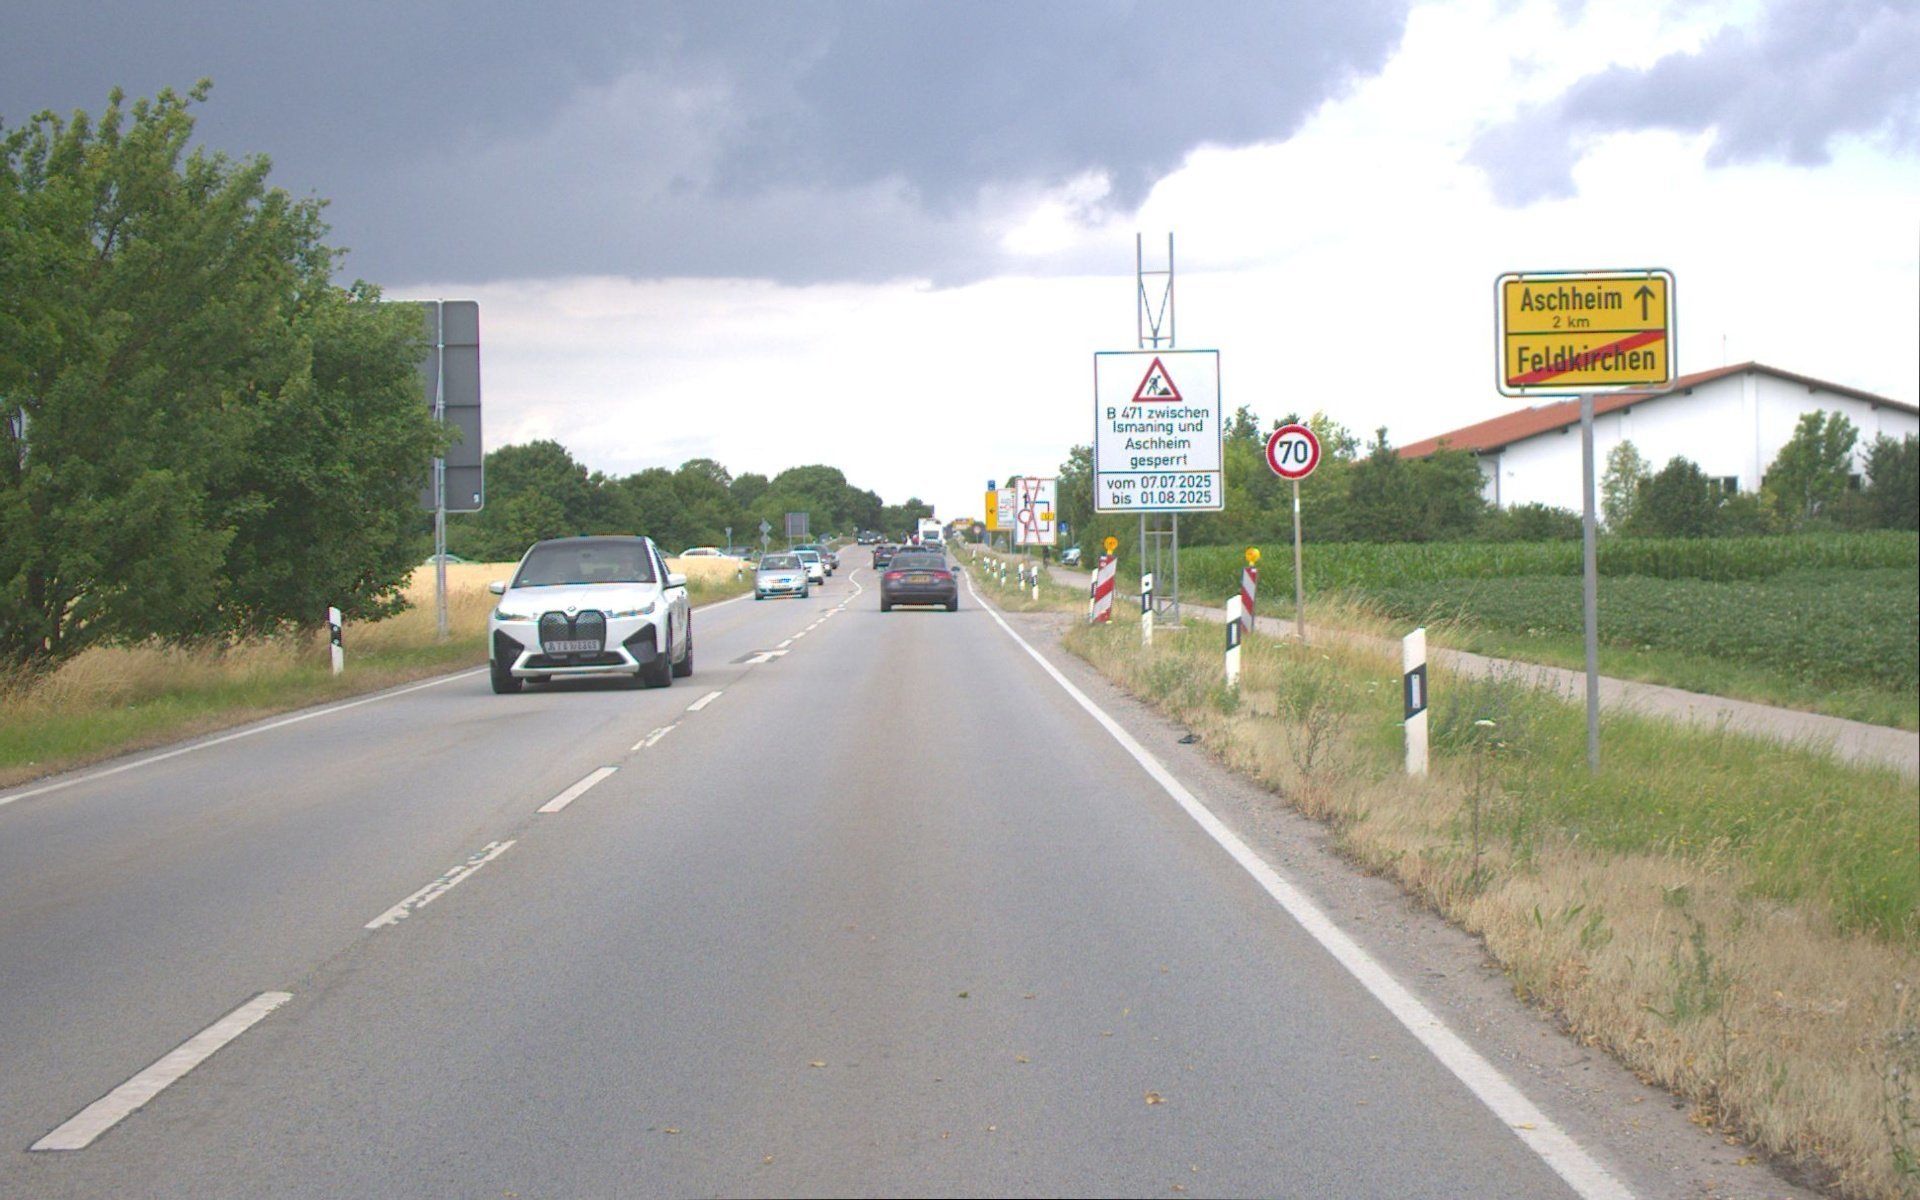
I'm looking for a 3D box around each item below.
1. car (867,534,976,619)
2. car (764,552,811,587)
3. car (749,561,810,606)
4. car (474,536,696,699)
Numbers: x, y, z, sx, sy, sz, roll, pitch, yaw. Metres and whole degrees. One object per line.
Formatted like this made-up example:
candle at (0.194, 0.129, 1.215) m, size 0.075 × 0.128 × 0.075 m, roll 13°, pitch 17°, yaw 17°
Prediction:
car at (-0.954, -0.569, 82.406) m, size 2.371 × 1.874 × 4.478 m, roll -3°, pitch 1°, yaw -3°
car at (-7.337, -1.316, 146.517) m, size 1.806 × 1.451 × 4.114 m, roll -1°, pitch 1°, yaw 0°
car at (-5.689, -0.537, 108.909) m, size 1.728 × 1.359 × 3.950 m, roll -1°, pitch 1°, yaw 0°
car at (-4.155, 0.143, 38.800) m, size 1.993 × 1.678 × 4.810 m, roll -1°, pitch 1°, yaw -1°
